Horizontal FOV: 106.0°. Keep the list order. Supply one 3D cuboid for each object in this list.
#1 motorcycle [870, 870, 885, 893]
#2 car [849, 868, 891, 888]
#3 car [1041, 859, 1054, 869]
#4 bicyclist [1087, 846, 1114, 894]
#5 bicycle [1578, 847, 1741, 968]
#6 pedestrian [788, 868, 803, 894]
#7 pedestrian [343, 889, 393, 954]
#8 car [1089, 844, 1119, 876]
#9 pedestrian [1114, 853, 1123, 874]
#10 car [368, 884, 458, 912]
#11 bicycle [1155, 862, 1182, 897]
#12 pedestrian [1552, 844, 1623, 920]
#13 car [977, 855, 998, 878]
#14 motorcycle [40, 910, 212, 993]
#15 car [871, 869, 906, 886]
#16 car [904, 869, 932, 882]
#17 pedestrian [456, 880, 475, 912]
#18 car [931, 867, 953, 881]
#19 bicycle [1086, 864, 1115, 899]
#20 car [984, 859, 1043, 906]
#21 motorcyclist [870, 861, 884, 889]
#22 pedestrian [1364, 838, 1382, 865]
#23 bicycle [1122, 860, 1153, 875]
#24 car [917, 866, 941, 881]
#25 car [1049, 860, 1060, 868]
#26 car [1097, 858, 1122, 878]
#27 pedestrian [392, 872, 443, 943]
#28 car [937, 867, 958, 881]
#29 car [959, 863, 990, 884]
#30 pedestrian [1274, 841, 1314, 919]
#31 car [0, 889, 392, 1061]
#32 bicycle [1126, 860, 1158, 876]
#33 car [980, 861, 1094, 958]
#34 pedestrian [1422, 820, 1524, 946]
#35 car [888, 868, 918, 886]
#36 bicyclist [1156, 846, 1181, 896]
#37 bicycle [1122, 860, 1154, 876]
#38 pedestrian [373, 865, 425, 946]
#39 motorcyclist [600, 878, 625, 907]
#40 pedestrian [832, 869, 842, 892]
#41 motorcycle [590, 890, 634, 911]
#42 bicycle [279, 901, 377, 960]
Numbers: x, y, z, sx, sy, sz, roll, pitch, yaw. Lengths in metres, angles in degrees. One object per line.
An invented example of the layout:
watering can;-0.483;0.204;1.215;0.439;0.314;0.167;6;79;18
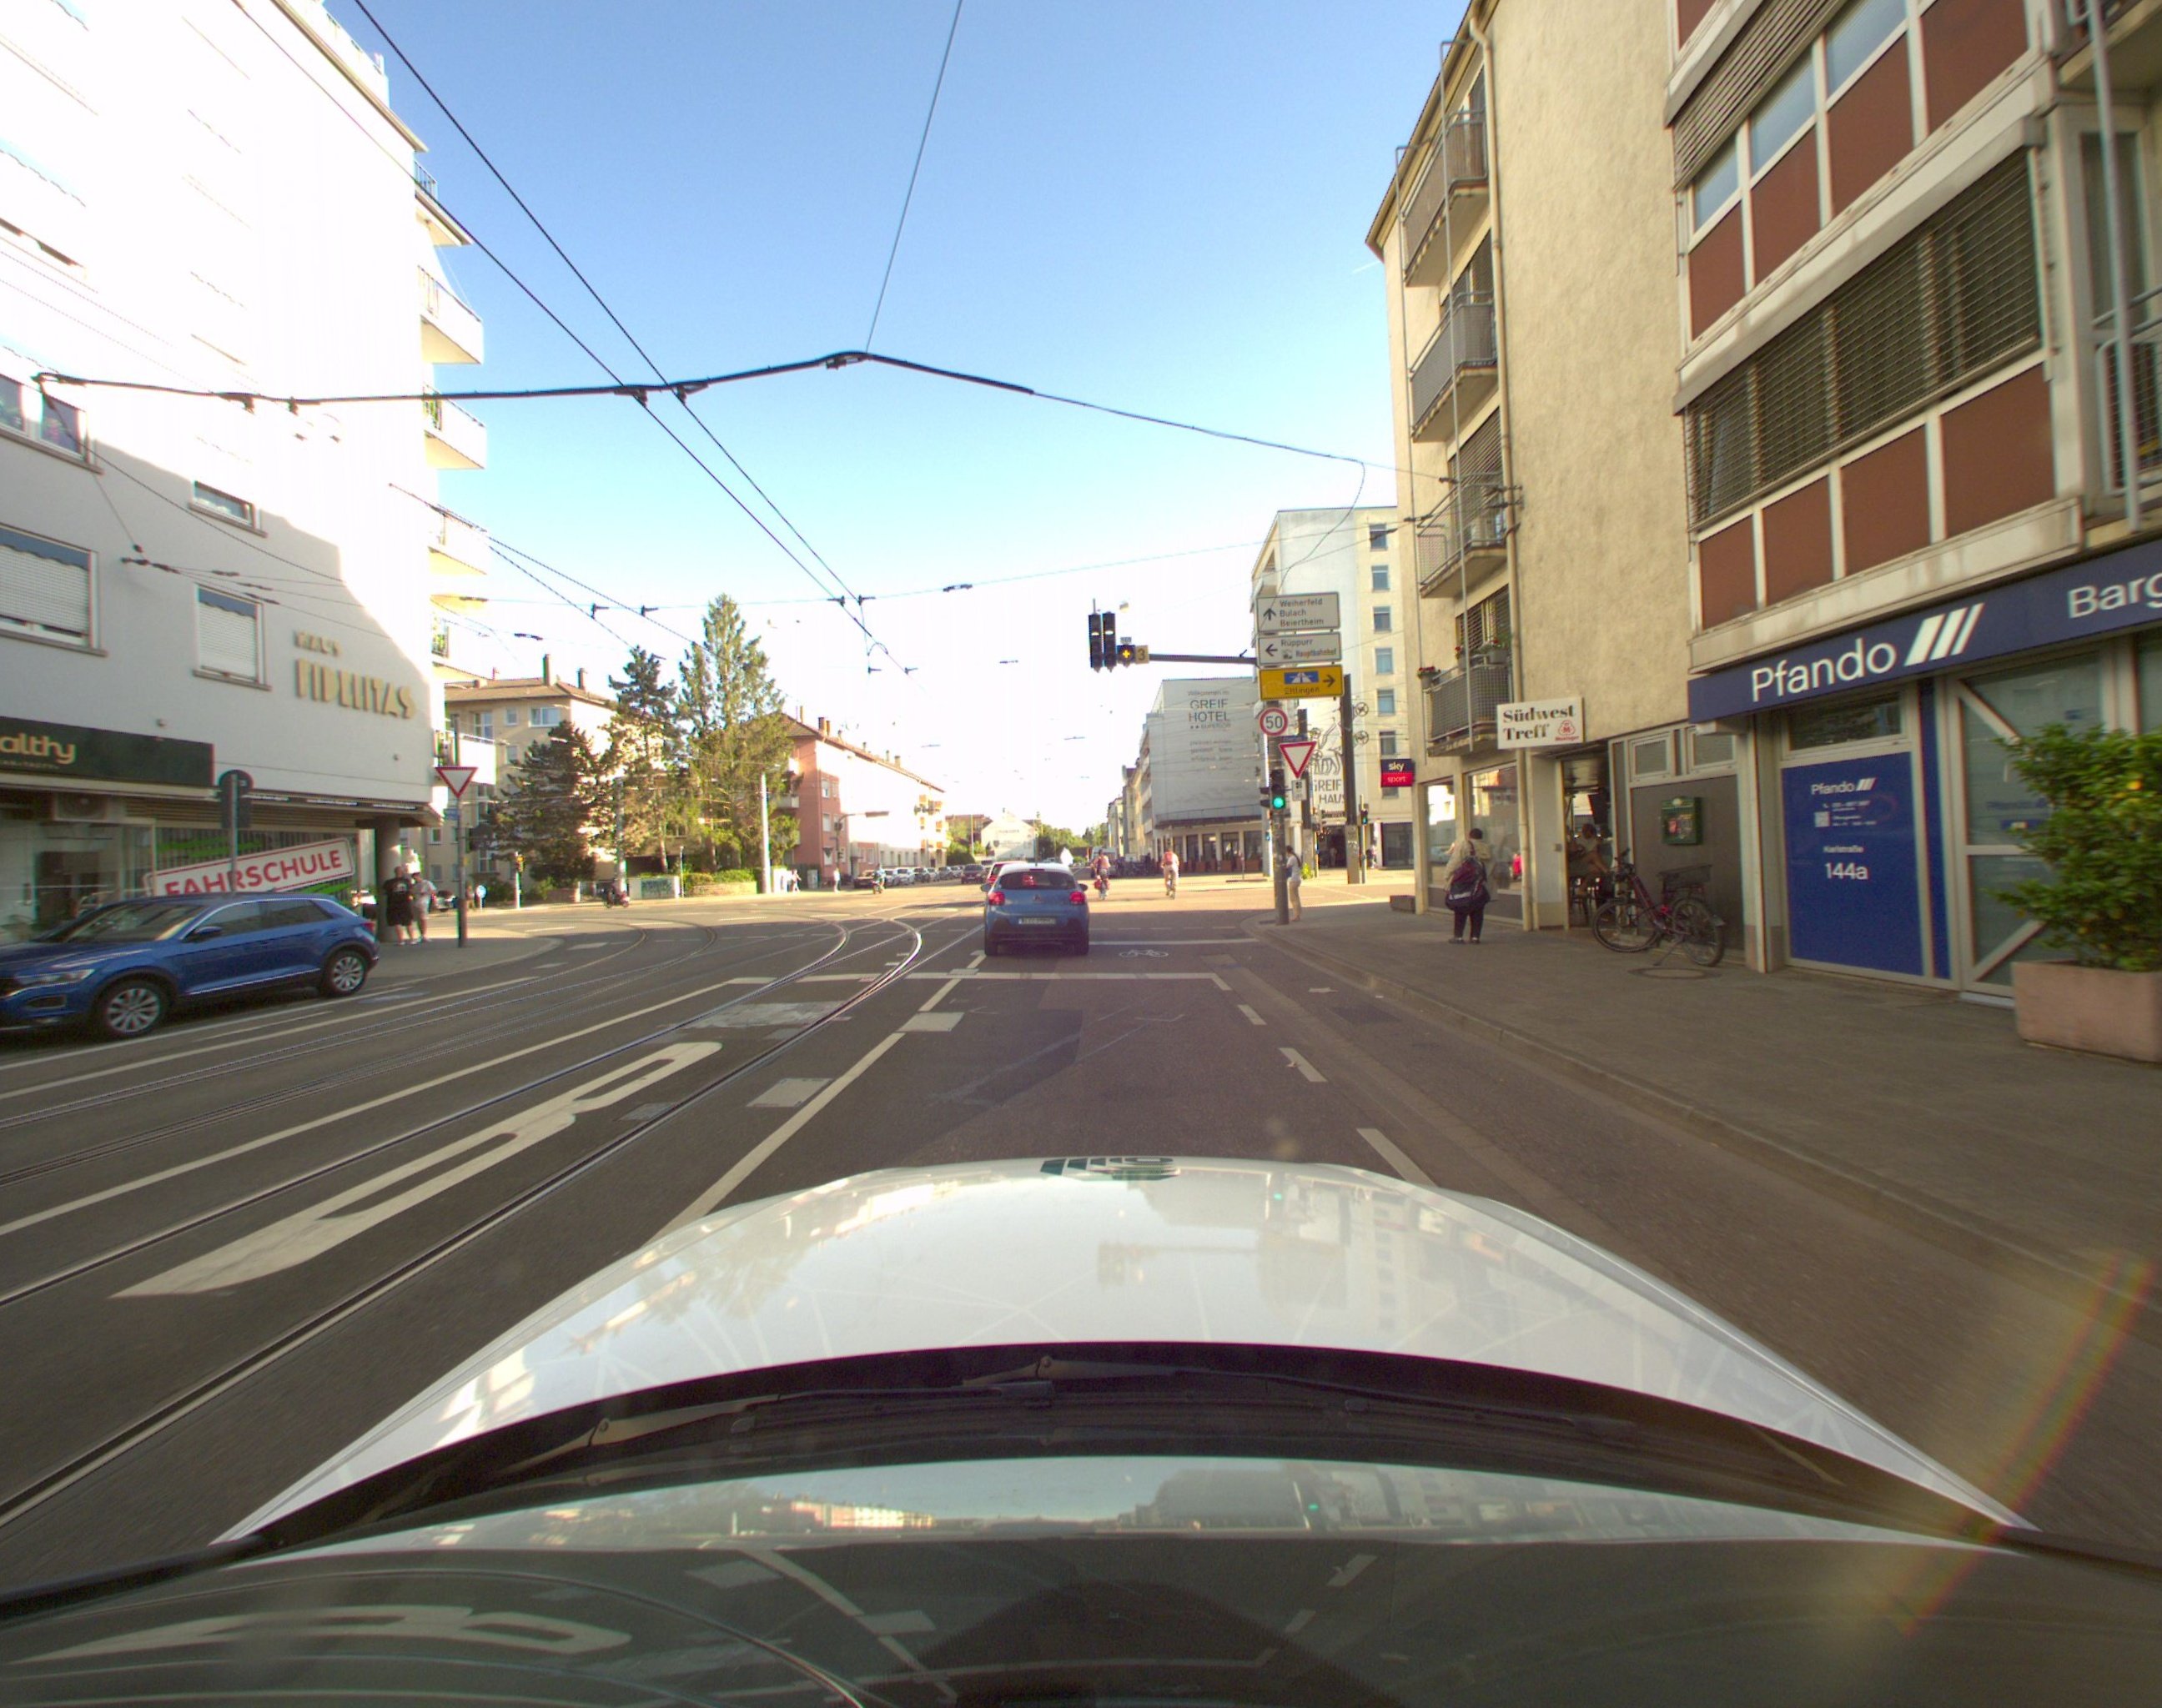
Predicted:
motorcycle;-11.216;1.534;44.905;0.713;1.220;1.954;-2;-2;-17
car;-16.525;1.909;63.951;2.147;1.432;4.438;0;-2;0
car;-6.700;1.984;164.488;2.210;1.932;4.950;0;-1;1
bicyclist;0.729;0.575;29.480;0.936;1.673;1.080;0;-1;3
bicycle;6.201;0.537;8.855;0.494;1.161;1.777;-2;-1;1
pedestrian;-19.509;1.820;55.592;0.788;1.722;0.696;1;-1;-40
pedestrian;-19.094;1.796;21.811;0.751;1.652;0.703;-5;-4;16
car;1.833;0.504;66.411;2.258;2.482;5.006;-1;-1;0
pedestrian;2.912;0.751;63.174;0.610;1.654;0.671;0;-1;3
car;-40.837;2.696;49.859;4.040;1.628;1.874;0;-1;5
bicycle;3.034;0.861;28.030;0.806;1.181;2.069;0;-1;9
pedestrian;7.691;0.422;12.371;0.627;1.087;0.672;-3;0;-33
car;-13.024;1.790;113.875;2.409;3.142;3.489;0;-1;1
motorcycle;-15.196;1.516;13.043;0.605;1.134;1.797;0;-1;1
car;-16.289;1.965;69.103;1.896;1.436;4.105;0;-1;2
car;-16.124;2.126;80.721;1.940;1.239;4.282;0;-1;0
pedestrian;-36.685;2.507;48.566;0.700;1.886;0.775;0;-1;-22
car;-15.891;2.294;93.007;1.864;1.576;3.998;0;-1;-1
bicycle;0.723;0.975;29.462;0.936;1.223;2.096;0;-1;3
car;-2.313;0.943;28.643;1.779;1.522;3.761;0;0;0
motorcyclist;-11.259;1.153;45.010;0.695;1.497;0.680;-1;-3;-17
pedestrian;19.496;-0.156;54.343;0.903;1.746;0.737;0;-1;1
bicycle;4.300;1.040;61.707;2.244;1.001;0.856;-4;-1;-1
car;-16.211;2.096;86.950;1.864;1.576;3.998;0;-1;-1
car;-5.879;2.288;182.247;2.067;1.763;5.037;0;-1;1
car;2.096;1.033;61.417;1.653;1.431;3.885;0;-1;-2
pedestrian;-17.153;1.370;21.065;0.731;1.792;0.663;-2;0;7
car;-15.952;2.355;97.539;1.864;1.576;3.998;0;-1;-1
car;-8.074;1.462;62.009;1.773;1.486;3.827;-3;-1;0
pedestrian;4.607;0.557;17.611;0.534;1.624;0.737;-7;-3;26
car;-11.322;1.301;10.220;1.764;1.503;4.236;0;0;-1
bicycle;4.413;1.019;59.266;2.244;1.001;0.856;-4;-1;-1
car;-0.852;0.874;14.363;1.734;1.452;3.654;-1;-1;-6
pedestrian;5.347;0.382;11.161;0.883;1.592;0.810;-5;0;-4
car;-16.121;2.042;74.011;1.735;1.526;4.230;0;-1;1
bicyclist;3.012;0.570;27.930;0.806;1.692;0.937;0;-1;9
bicycle;4.244;1.028;60.582;2.244;1.001;0.856;-4;-1;-1
pedestrian;-16.340;1.231;19.519;0.568;1.900;0.742;-2;-3;19
motorcyclist;-24.905;2.029;43.303;0.722;1.488;0.860;0;-1;11
pedestrian;-16.750;1.835;55.862;0.514;1.568;0.573;0;-1;1
motorcycle;-24.920;2.456;43.293;1.923;1.047;0.860;0;-1;10
bicycle;-15.624;1.560;16.944;0.549;1.106;1.540;0;-1;3
